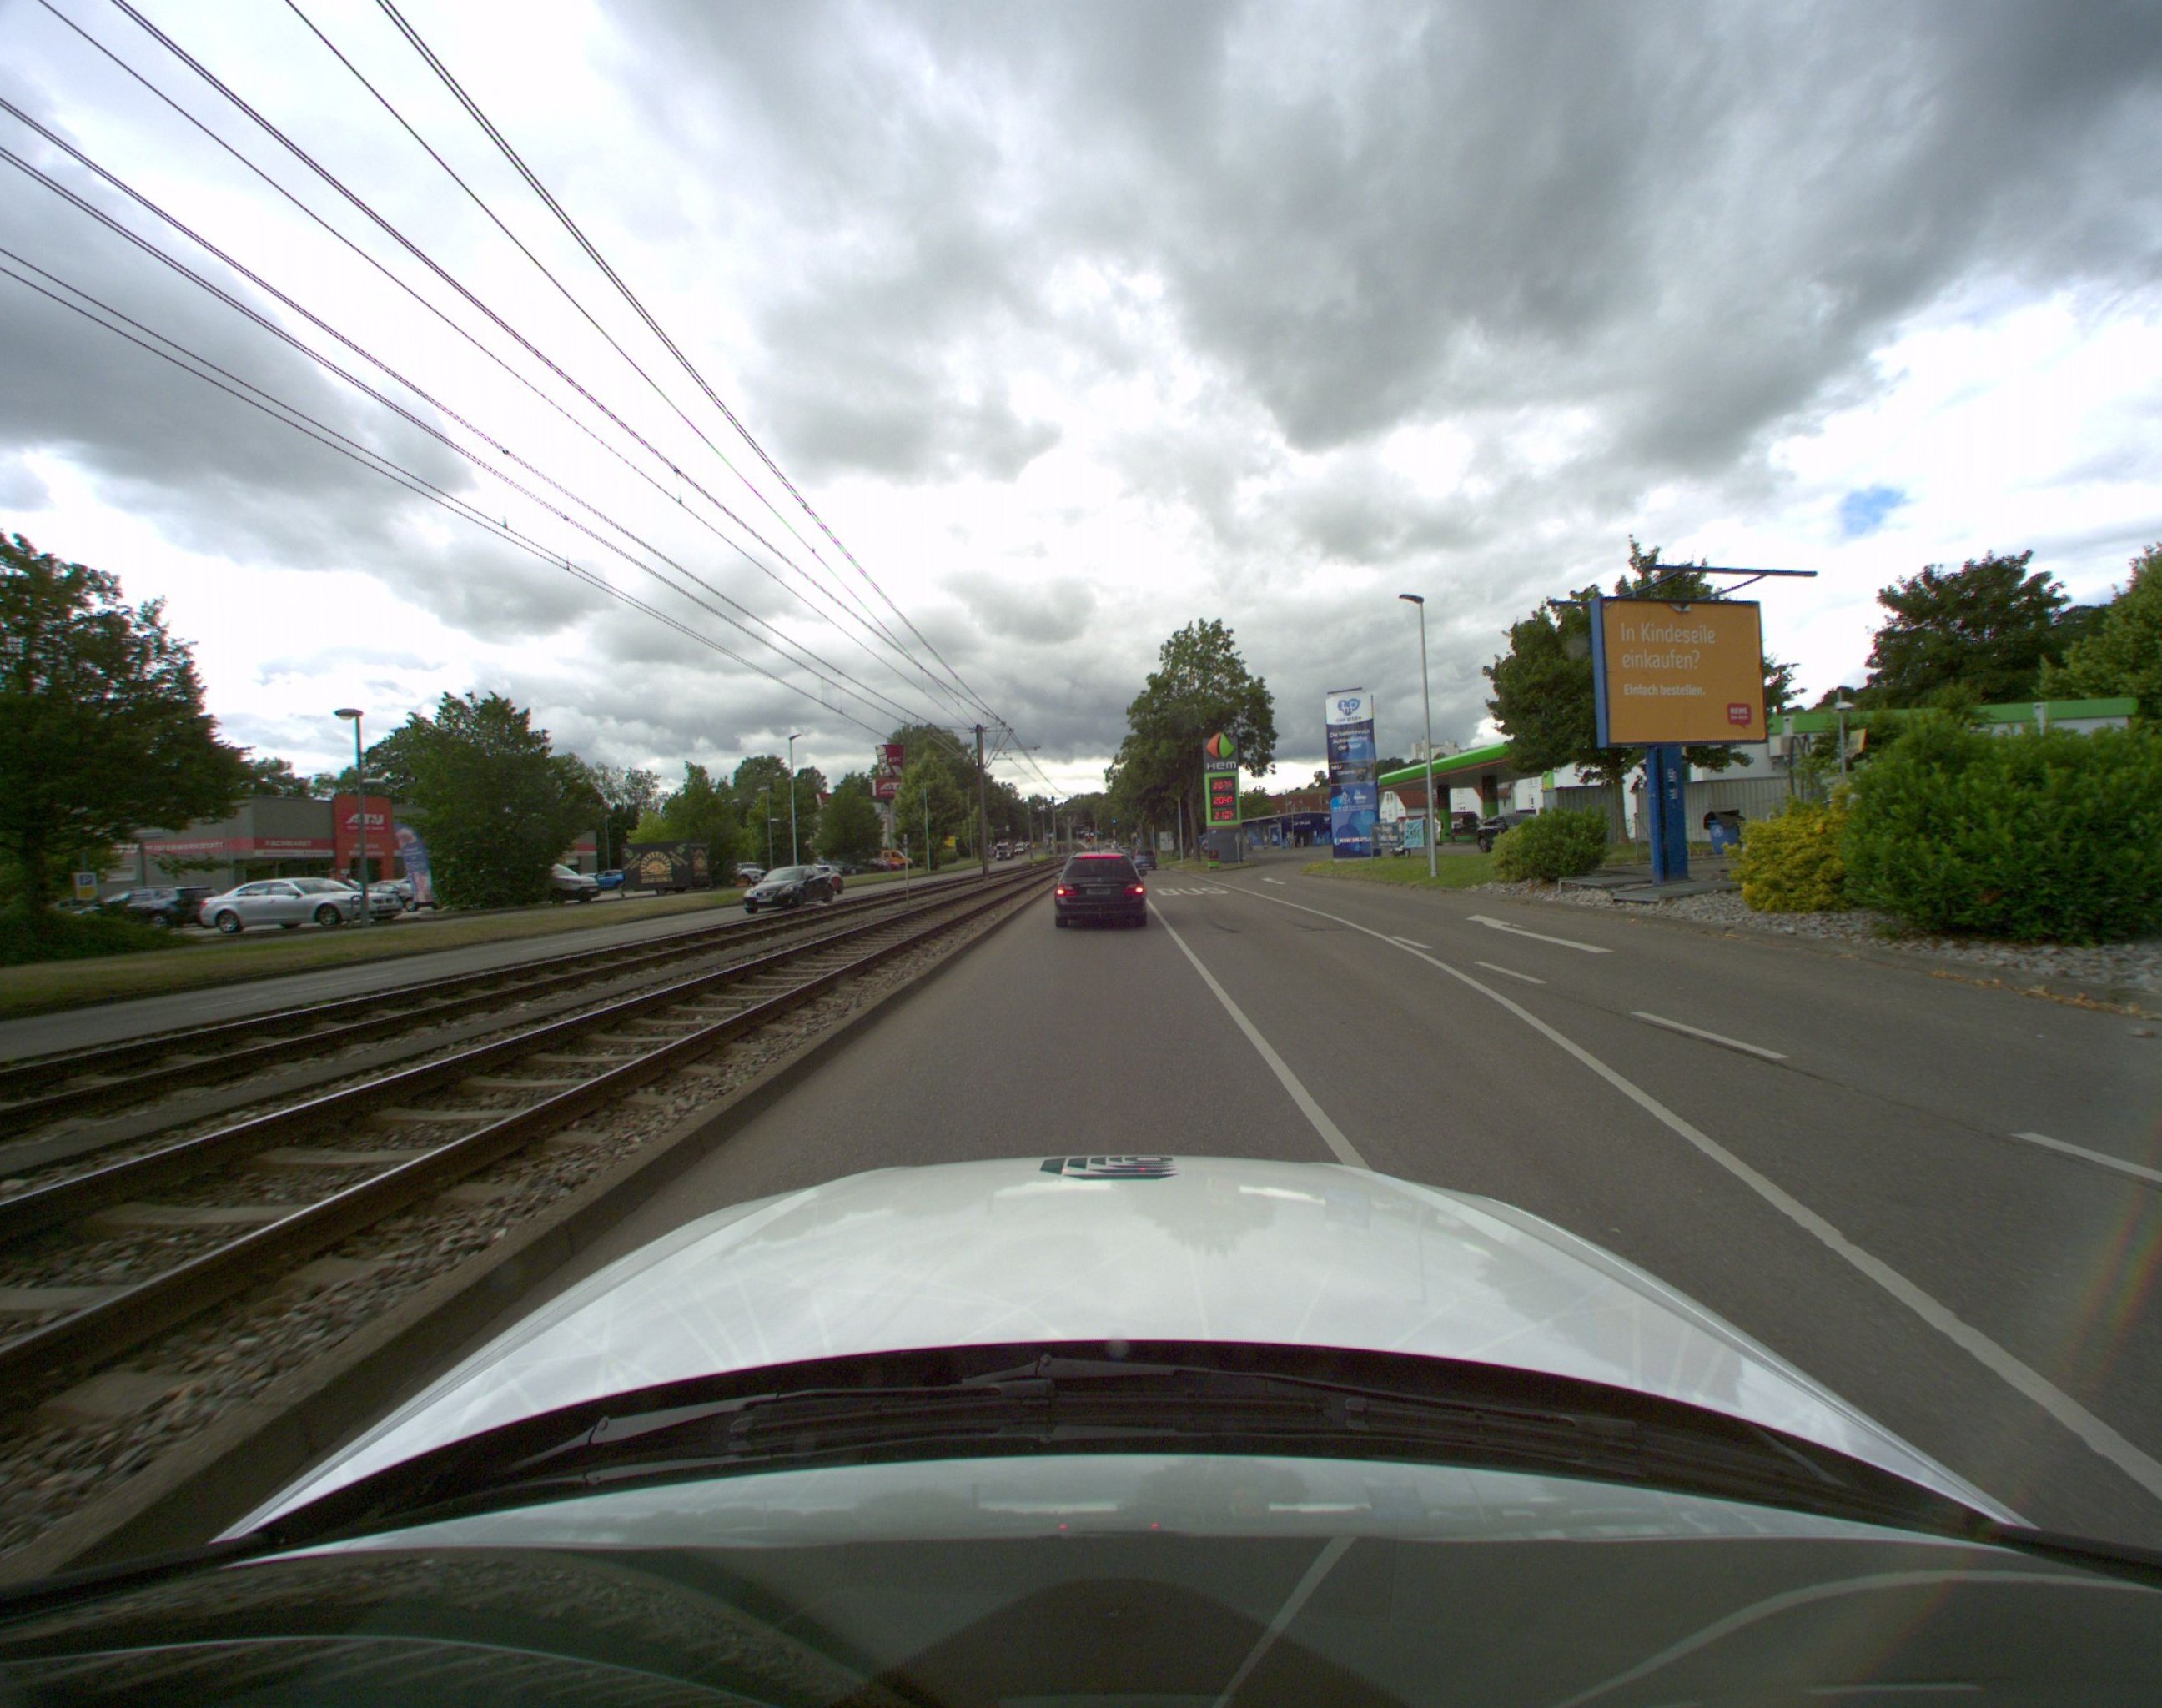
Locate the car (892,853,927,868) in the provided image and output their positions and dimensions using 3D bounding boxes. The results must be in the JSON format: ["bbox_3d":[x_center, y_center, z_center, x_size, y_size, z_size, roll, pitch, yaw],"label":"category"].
[{"bbox_3d":[-21.088,0.839,100.224,3.978,1.599,1.794,-3,0,-3],"label":"car"}]

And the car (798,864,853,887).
[{"bbox_3d":[-21.579,1.813,68.775,3.978,1.635,1.876,-3,0,-3],"label":"car"}]

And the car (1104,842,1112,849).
[{"bbox_3d":[7.163,-2.303,214.286,1.986,1.838,4.001,-1,0,1],"label":"car"}]

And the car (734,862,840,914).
[{"bbox_3d":[-9.738,1.068,27.367,1.753,1.401,4.444,-5,0,1],"label":"car"}]

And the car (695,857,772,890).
[{"bbox_3d":[-22.067,1.212,51.768,3.978,1.797,1.876,-3,0,-3],"label":"car"}]

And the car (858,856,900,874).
[{"bbox_3d":[-21.437,1.117,86.579,3.978,1.797,1.876,-2,0,-3],"label":"car"}]

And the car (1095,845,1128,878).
[{"bbox_3d":[1.706,0.410,45.680,1.774,1.750,3.719,-1,0,2],"label":"car"}]

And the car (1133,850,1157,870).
[{"bbox_3d":[4.542,0.421,58.104,1.565,1.414,3.355,-1,0,2],"label":"car"}]

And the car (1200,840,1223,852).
[{"bbox_3d":[19.000,-1.172,118.202,1.987,1.682,4.607,-3,0,26],"label":"car"}]

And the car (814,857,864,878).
[{"bbox_3d":[-21.971,1.204,74.020,3.978,1.599,1.876,-3,0,-3],"label":"car"}]

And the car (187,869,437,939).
[{"bbox_3d":[-22.461,1.427,23.986,4.763,1.628,2.654,-3,1,2],"label":"car"}]

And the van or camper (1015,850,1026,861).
[{"bbox_3d":[-13.674,0.397,184.826,1.987,2.354,5.764,-3,0,0],"label":"van or camper"}]

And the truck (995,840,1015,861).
[{"bbox_3d":[-14.092,-0.639,152.150,2.699,3.663,11.106,-3,0,-1],"label":"truck"}]

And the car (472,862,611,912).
[{"bbox_3d":[-21.962,1.320,33.269,4.207,1.727,1.995,-3,0,-1],"label":"car"}]

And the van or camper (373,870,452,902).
[{"bbox_3d":[-50.511,2.421,61.574,4.252,2.145,1.819,-3,0,-4],"label":"van or camper"}]

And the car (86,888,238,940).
[{"bbox_3d":[-33.531,2.160,29.757,3.964,1.596,1.697,-3,0,8],"label":"car"}]

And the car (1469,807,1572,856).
[{"bbox_3d":[17.748,-0.844,33.154,1.814,1.674,4.338,-5,-1,1],"label":"car"}]

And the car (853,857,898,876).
[{"bbox_3d":[-20.522,1.219,81.379,3.978,1.599,1.876,-3,0,-3],"label":"car"}]

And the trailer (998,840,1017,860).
[{"bbox_3d":[-14.208,-0.753,158.168,2.697,3.660,13.291,-3,0,-1],"label":"trailer"}]

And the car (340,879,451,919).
[{"bbox_3d":[-33.531,2.171,39.891,3.908,1.639,1.688,-3,0,0],"label":"car"}]

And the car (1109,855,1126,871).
[{"bbox_3d":[3.252,0.823,73.394,1.460,1.414,3.355,-1,0,2],"label":"car"}]

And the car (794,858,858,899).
[{"bbox_3d":[-12.467,1.152,40.050,1.786,1.772,3.999,-3,0,0],"label":"car"}]

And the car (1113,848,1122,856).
[{"bbox_3d":[7.794,-0.394,173.228,1.662,1.532,3.768,-1,0,-2],"label":"car"}]

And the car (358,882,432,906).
[{"bbox_3d":[-49.479,2.861,58.791,3.736,1.472,1.677,-3,0,-6],"label":"car"}]

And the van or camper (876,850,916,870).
[{"bbox_3d":[-20.808,0.676,91.660,3.978,2.135,1.876,-1,0,-3],"label":"van or camper"}]

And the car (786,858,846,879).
[{"bbox_3d":[-21.570,1.171,66.346,4.294,1.472,1.680,-3,0,-1],"label":"car"}]

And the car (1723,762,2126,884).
[{"bbox_3d":[14.028,-0.480,13.824,4.014,1.656,2.938,-3,0,-8],"label":"car"}]

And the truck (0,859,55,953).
[{"bbox_3d":[-28.784,1.405,19.334,1.986,2.382,5.266,-3,0,2],"label":"truck"}]

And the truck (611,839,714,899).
[{"bbox_3d":[-21.710,0.741,42.441,3.976,2.821,2.375,-3,0,-1],"label":"truck"}]

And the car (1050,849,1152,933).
[{"bbox_3d":[0.420,0.665,16.709,1.802,1.474,3.882,-1,0,2],"label":"car"}]

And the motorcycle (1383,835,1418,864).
[{"bbox_3d":[15.352,-0.200,39.171,0.852,1.331,1.991,-3,0,2],"label":"motorcycle"}]

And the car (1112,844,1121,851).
[{"bbox_3d":[8.418,-1.511,191.736,1.986,1.714,4.002,-3,0,2],"label":"car"}]
